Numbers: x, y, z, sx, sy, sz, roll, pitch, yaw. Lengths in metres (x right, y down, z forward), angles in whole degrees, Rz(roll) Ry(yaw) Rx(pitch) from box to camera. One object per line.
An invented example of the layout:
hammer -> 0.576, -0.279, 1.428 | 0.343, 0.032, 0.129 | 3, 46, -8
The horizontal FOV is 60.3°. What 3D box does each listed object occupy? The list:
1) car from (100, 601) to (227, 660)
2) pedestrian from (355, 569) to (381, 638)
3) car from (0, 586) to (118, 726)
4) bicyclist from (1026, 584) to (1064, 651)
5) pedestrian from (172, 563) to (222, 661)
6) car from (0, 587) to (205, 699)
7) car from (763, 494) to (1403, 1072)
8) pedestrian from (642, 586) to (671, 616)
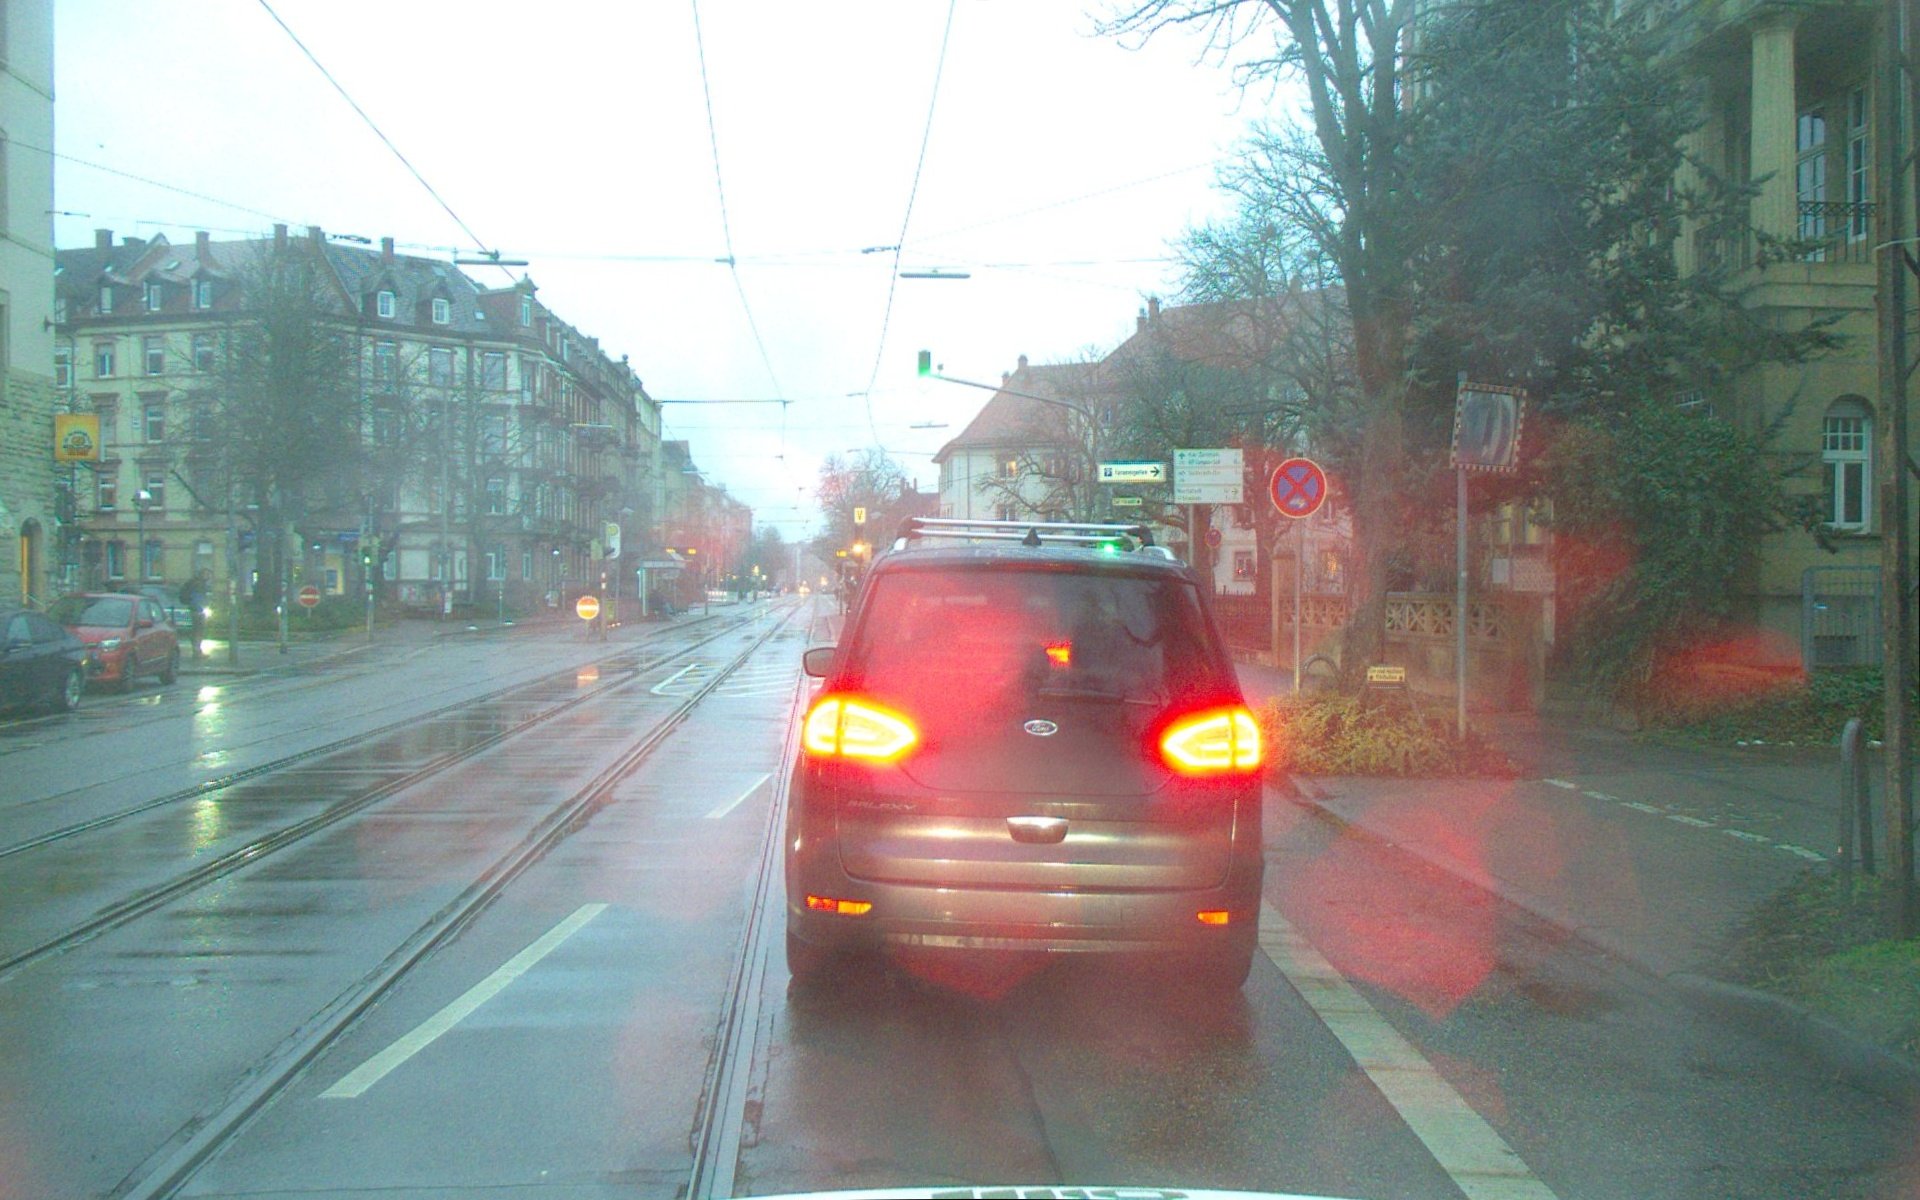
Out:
car -> -24.513, 0.912, 50.884 | 3.922, 1.702, 2.013 | 0, 0, 38
pedestrian -> -17.785, 0.108, 49.665 | 0.695, 2.049, 0.656 | 0, 0, -24
car -> -13.141, 0.671, 21.900 | 1.949, 1.674, 4.624 | 5, -1, -7
bicyclist -> 2.200, 0.446, 42.887 | 0.703, 1.691, 1.054 | 4, 0, -9
pedestrian -> -16.153, 0.252, 35.022 | 0.742, 2.049, 0.646 | 0, -1, 32
car -> -14.263, 0.651, 27.537 | 2.000, 1.578, 4.023 | 4, 0, -10
car -> 0.319, 0.591, 7.761 | 2.061, 1.848, 4.658 | 2, 0, -2
pedestrian -> -12.447, 0.036, 67.861 | 1.027, 1.221, 0.884 | 1, 0, -4
